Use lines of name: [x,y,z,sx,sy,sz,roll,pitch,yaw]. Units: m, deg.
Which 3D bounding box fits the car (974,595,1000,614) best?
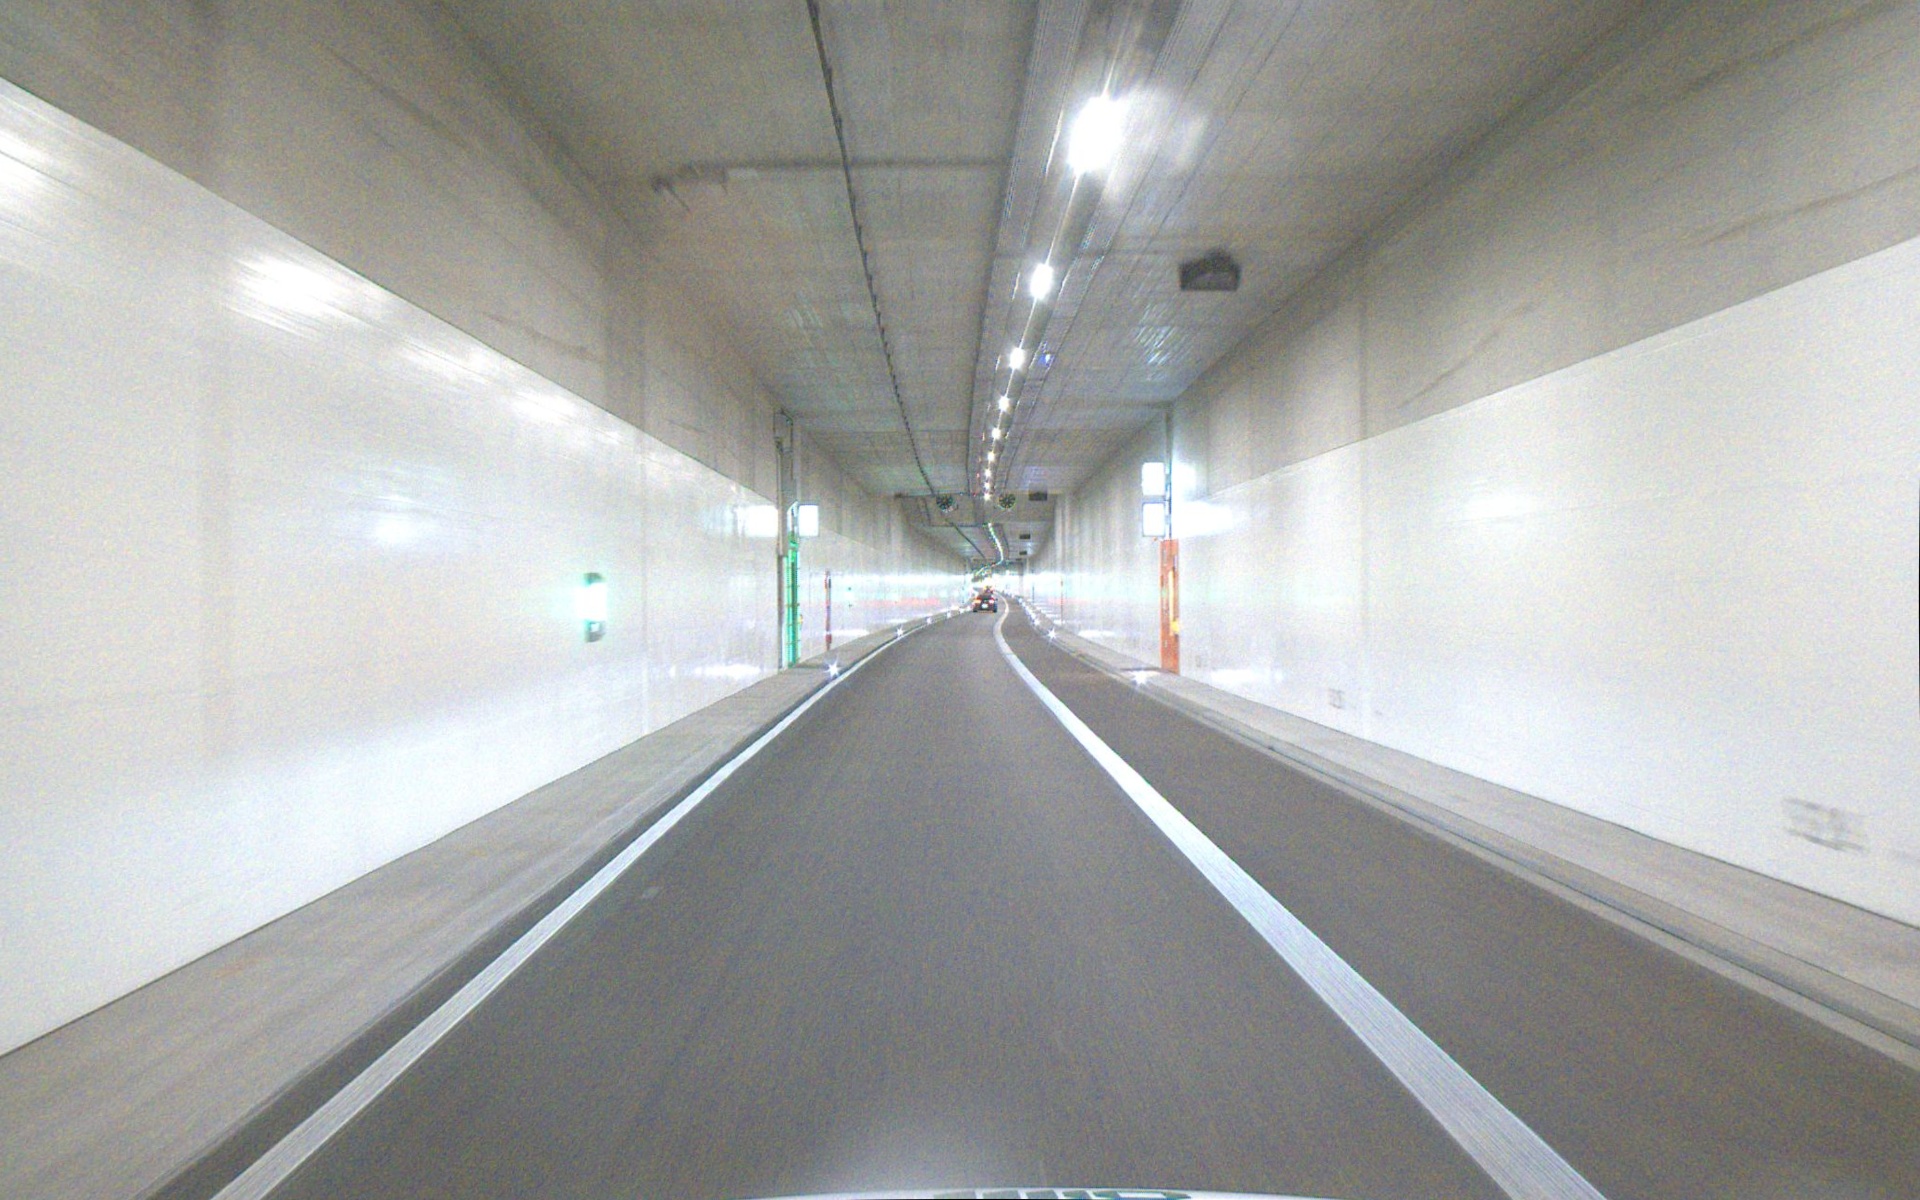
car: [2.108,0.325,131.645,1.953,1.445,3.999,1,0,-1]
